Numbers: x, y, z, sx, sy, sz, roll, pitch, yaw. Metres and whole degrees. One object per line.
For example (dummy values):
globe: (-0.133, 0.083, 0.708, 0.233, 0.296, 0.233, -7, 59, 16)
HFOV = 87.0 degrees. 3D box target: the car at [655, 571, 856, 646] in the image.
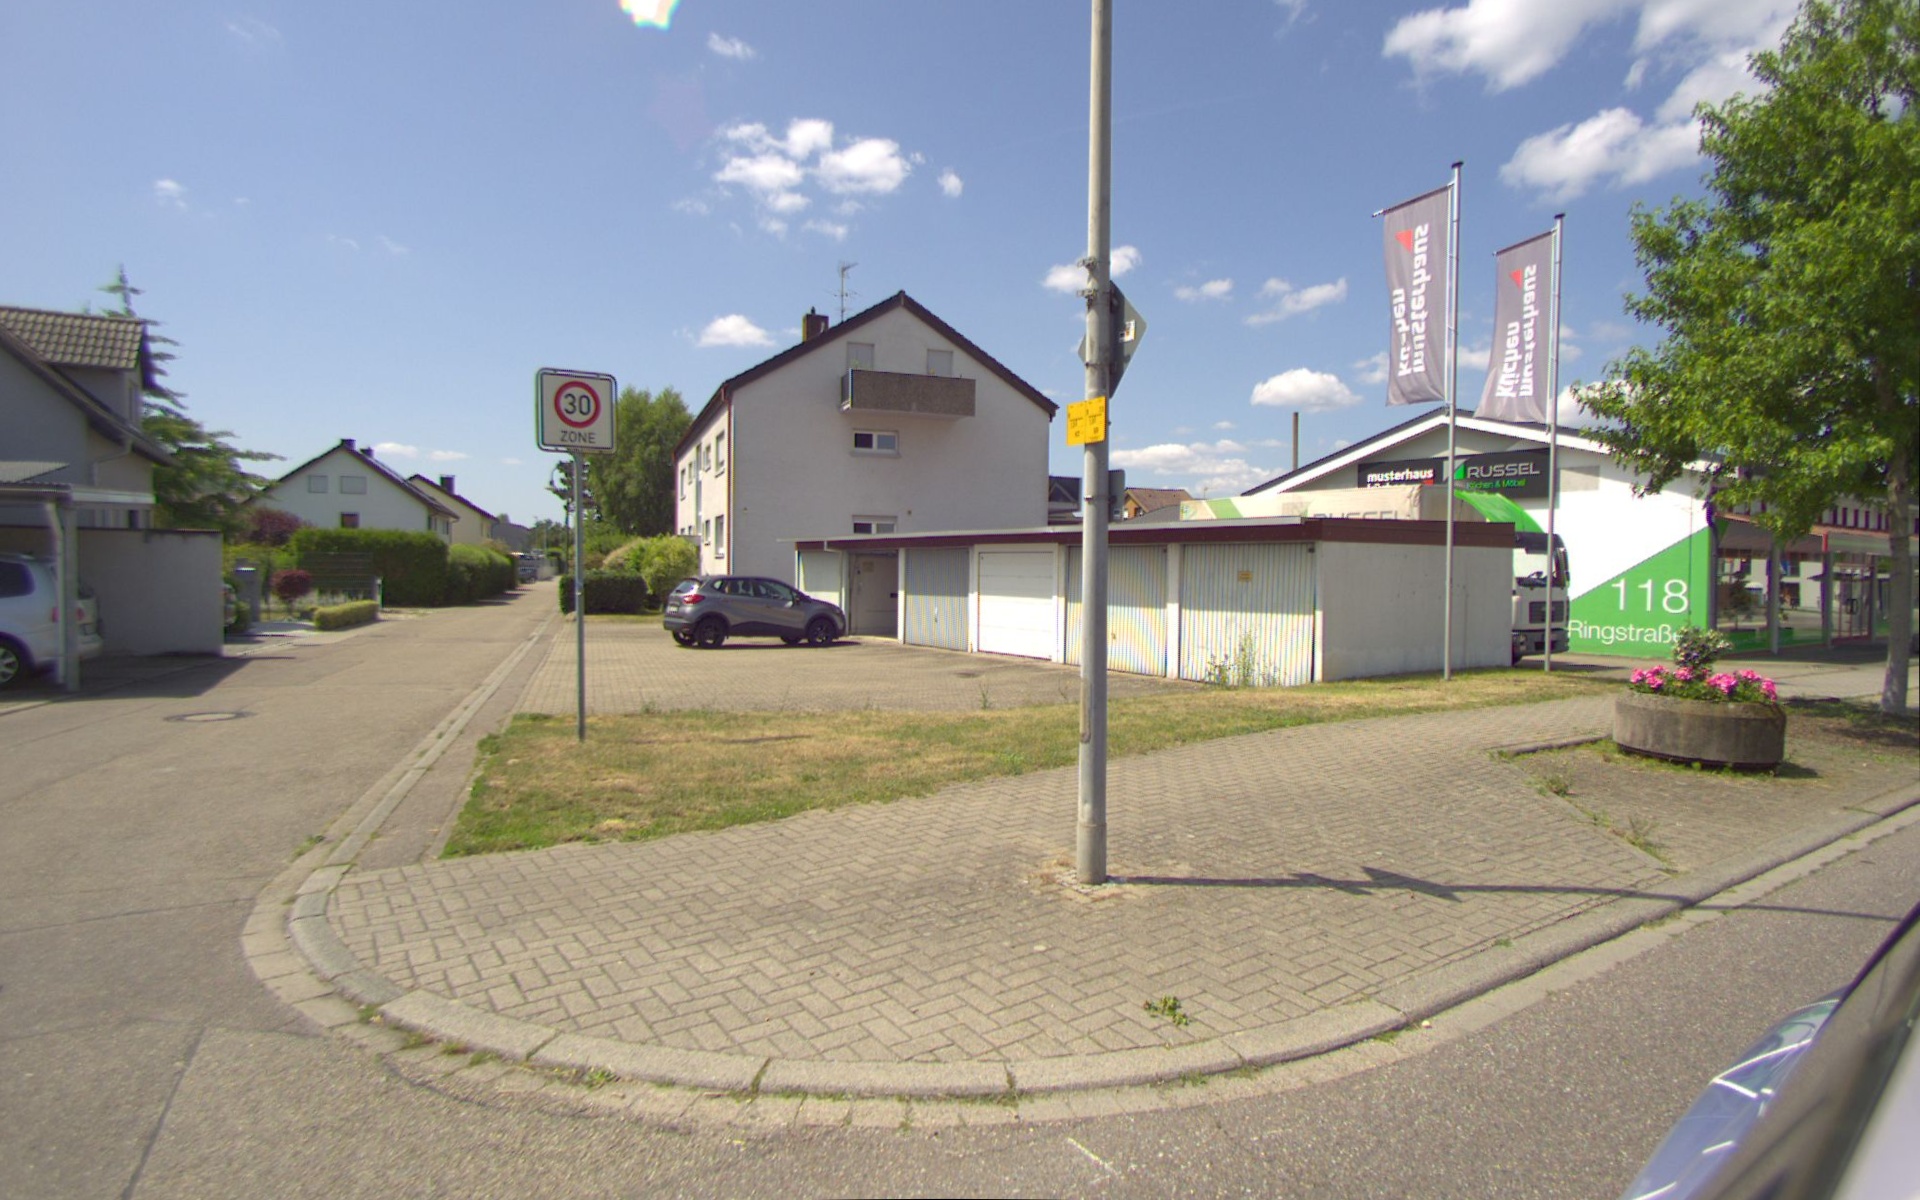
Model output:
car: (-4.502, 0.133, 22.455, 4.052, 1.521, 1.681, 0, 1, -34)

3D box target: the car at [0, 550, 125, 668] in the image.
car: (-14.396, 0.074, 14.277, 3.777, 1.607, 1.744, 2, 1, -32)

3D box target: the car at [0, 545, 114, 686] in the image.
car: (-13.006, 0.118, 12.129, 4.132, 1.669, 1.744, 2, 1, -32)

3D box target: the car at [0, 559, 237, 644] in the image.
car: (-16.228, -0.004, 19.319, 3.925, 1.489, 1.814, 0, 1, -36)

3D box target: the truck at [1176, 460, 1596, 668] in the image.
truck: (8.619, -0.731, 21.752, 2.627, 3.616, 8.198, -1, 2, -35)
